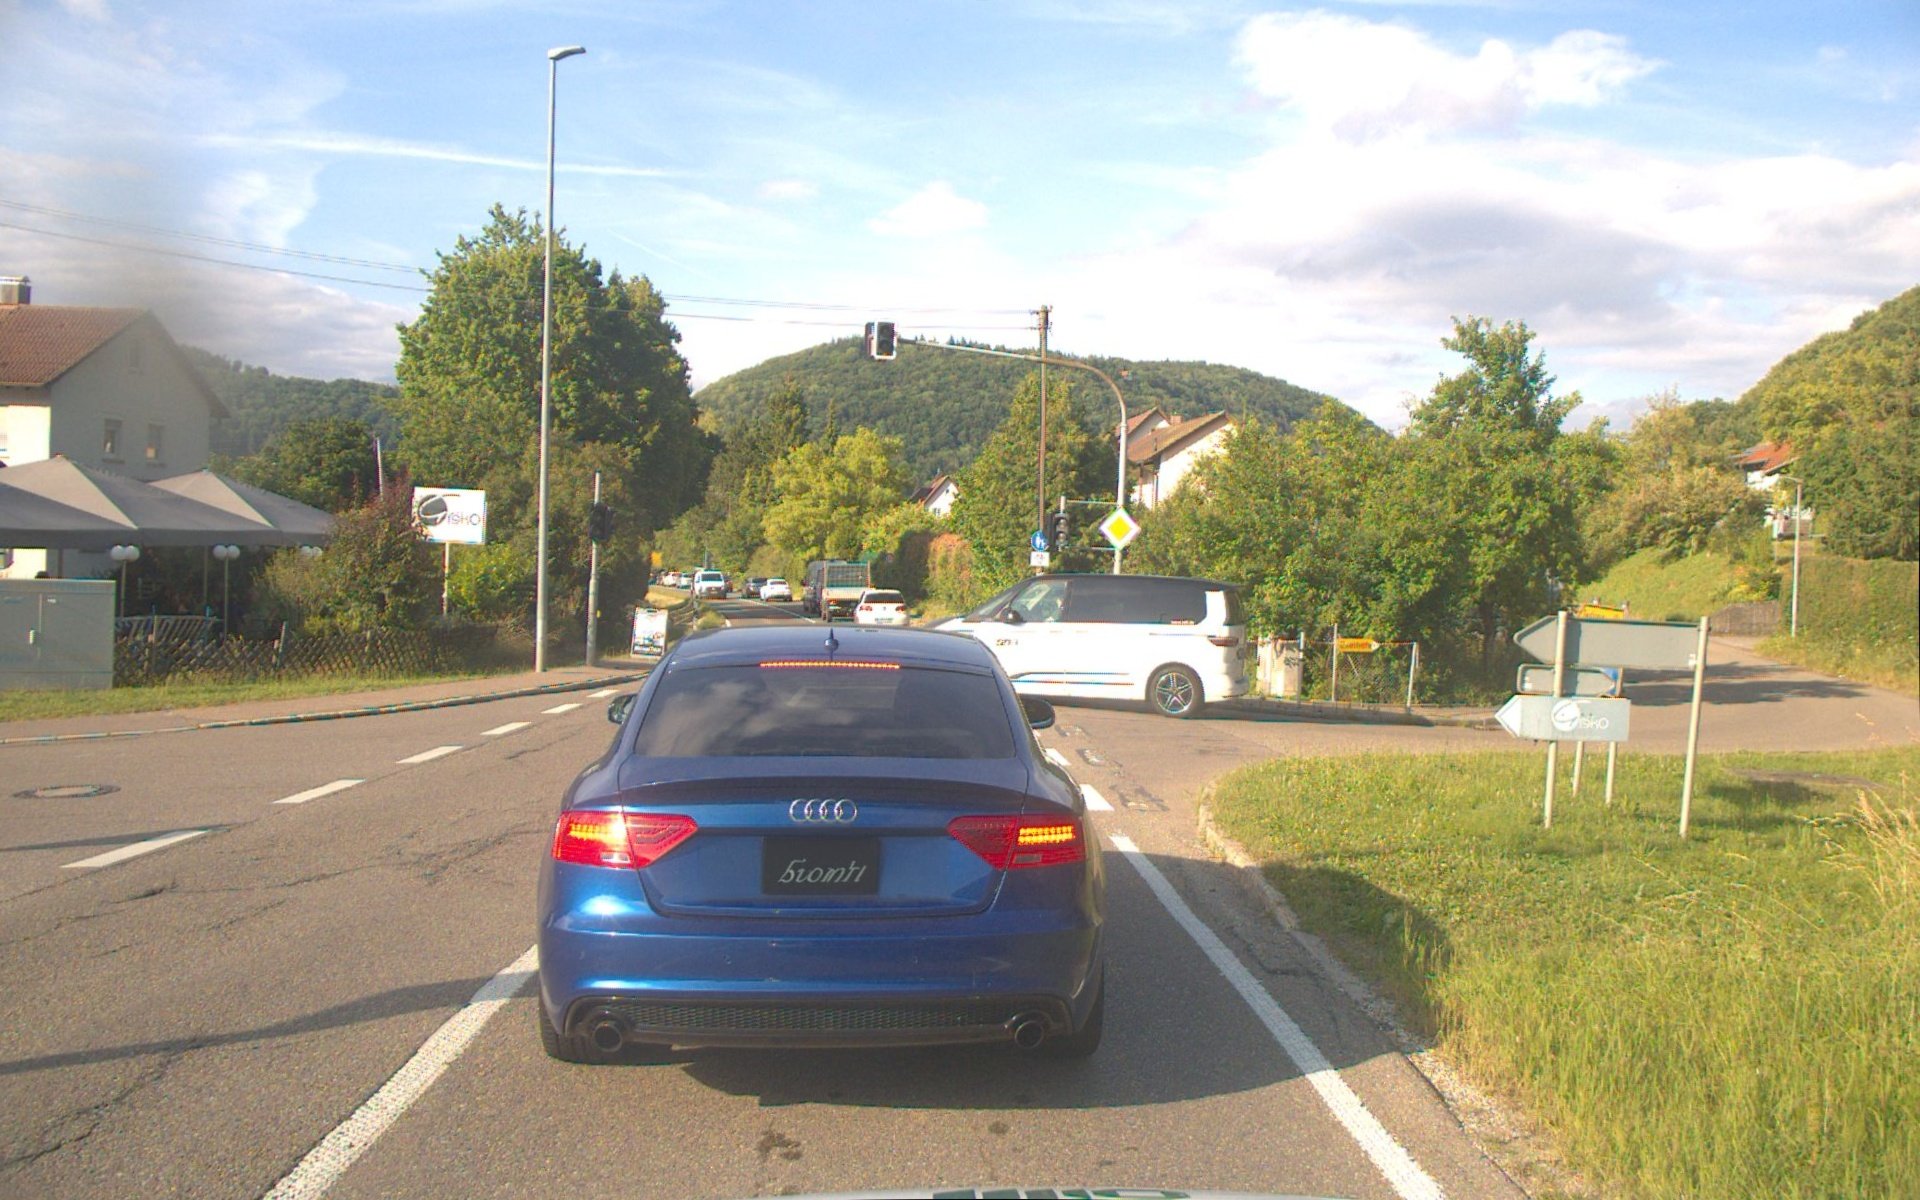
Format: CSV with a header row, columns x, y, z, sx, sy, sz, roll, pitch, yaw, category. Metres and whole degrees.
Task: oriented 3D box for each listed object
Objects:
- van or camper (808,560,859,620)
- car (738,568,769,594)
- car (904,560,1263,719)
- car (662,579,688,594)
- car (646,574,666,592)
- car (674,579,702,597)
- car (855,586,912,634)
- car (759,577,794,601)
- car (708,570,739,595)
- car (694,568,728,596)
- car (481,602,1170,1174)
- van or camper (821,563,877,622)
x,y,z,sx,sy,sz,roll,pitch,yaw,category
-6.530,-0.550,84.626,2.369,2.955,6.123,0,1,-7,van or camper
-14.946,-1.366,119.558,1.766,1.825,3.985,0,1,-14,car
1.806,0.501,23.609,4.752,1.909,2.002,3,1,15,car
-28.419,-1.381,164.830,1.912,1.449,3.979,0,1,-18,car
-32.528,-1.820,177.133,1.743,1.814,3.983,0,1,-16,car
-25.662,-1.135,155.983,1.913,1.713,3.979,0,0,-19,car
-2.489,0.308,54.300,1.736,1.439,4.172,2,0,-2,car
-12.029,-0.735,108.355,1.788,1.579,3.987,0,1,-13,car
-19.894,-1.518,138.999,1.963,2.049,3.980,0,1,-18,car
-17.476,-1.268,115.936,1.959,1.937,5.235,-1,1,-13,car
-0.430,0.749,6.443,1.793,1.433,4.224,0,0,-2,car
-4.794,-0.338,70.845,2.138,2.426,5.362,0,1,-7,van or camper
